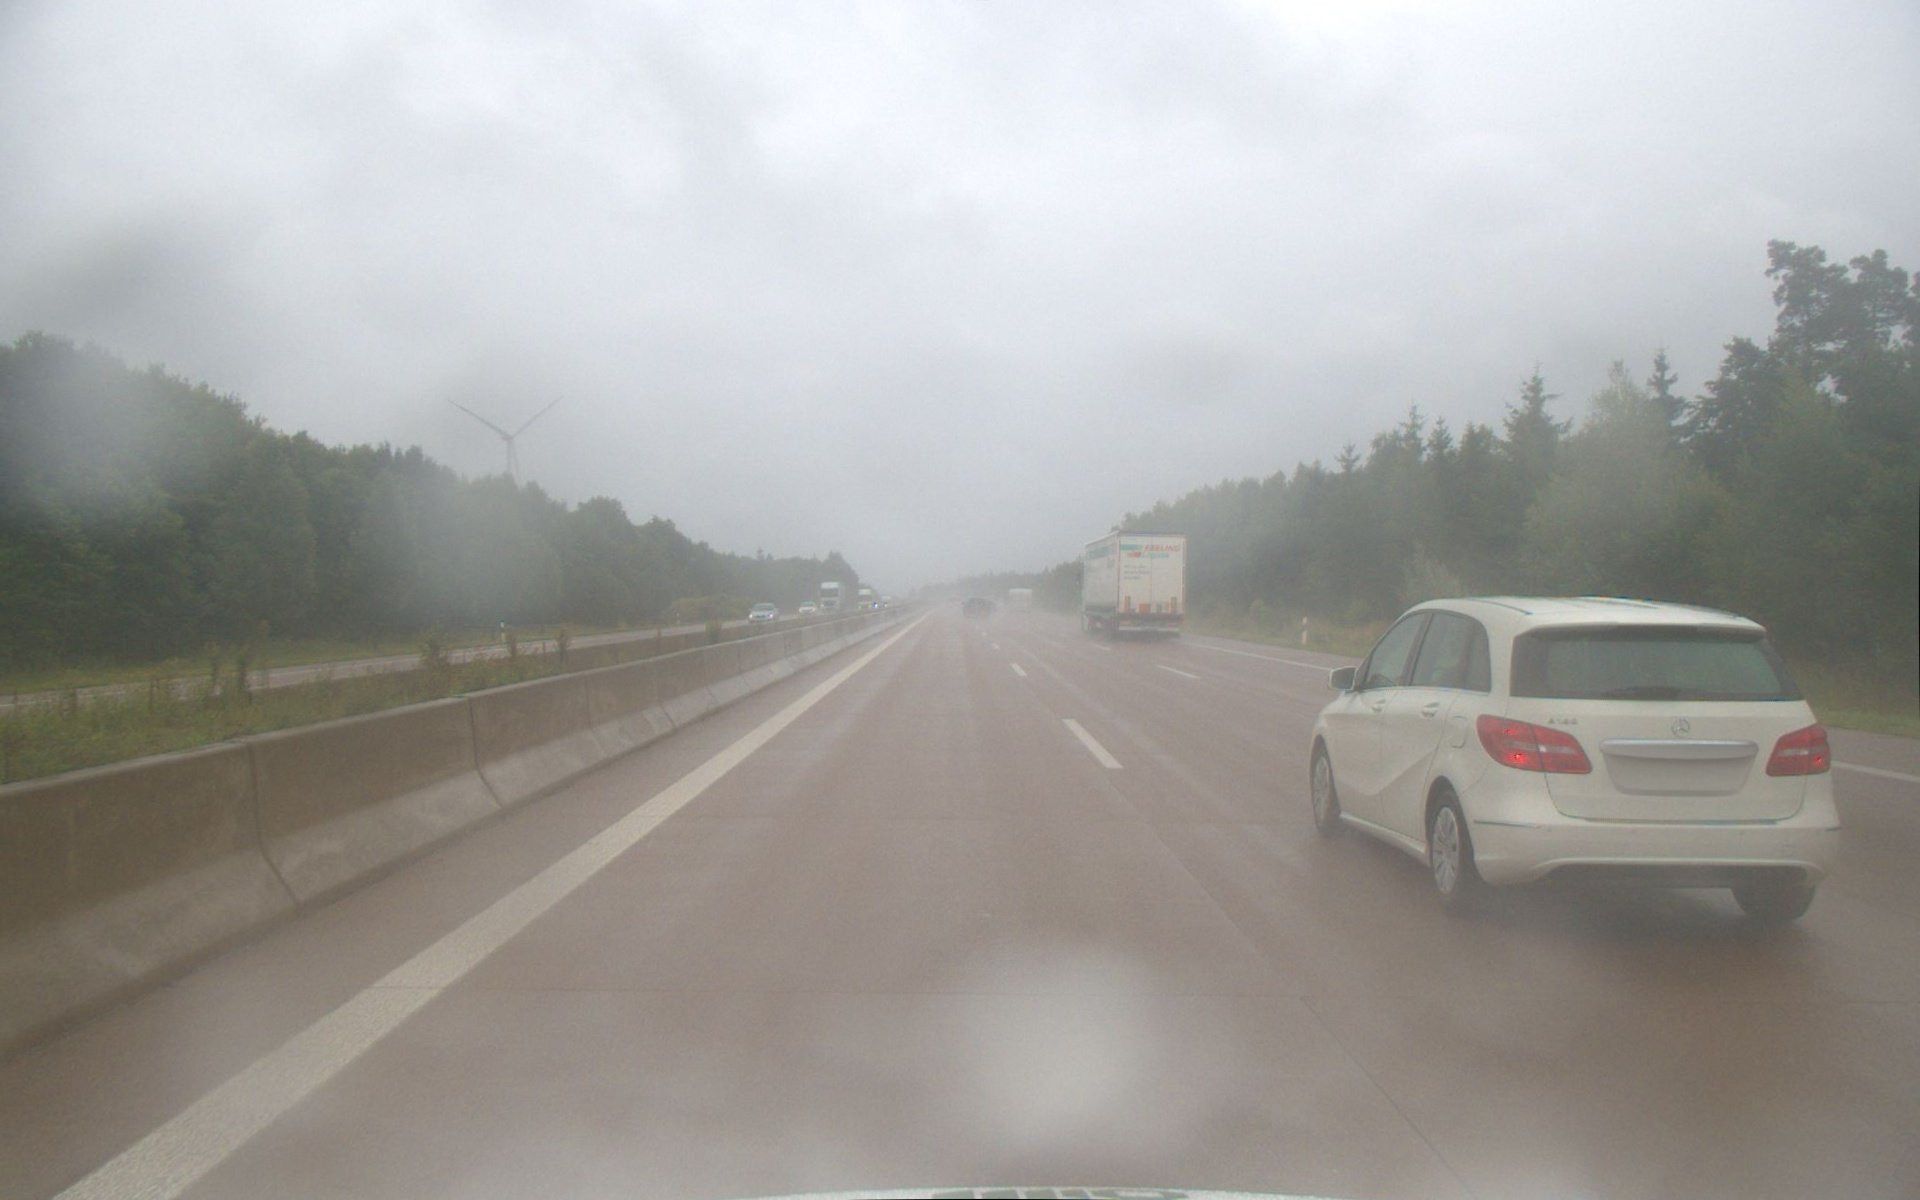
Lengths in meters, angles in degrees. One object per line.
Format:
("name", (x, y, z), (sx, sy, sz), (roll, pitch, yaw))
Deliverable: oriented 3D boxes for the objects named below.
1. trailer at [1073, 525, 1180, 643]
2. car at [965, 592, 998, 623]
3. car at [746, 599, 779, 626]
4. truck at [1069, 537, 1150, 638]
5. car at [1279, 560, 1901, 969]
("trailer", (6.569, -0.653, 67.312), (2.794, 4.305, 13.129), (-1, 1, -1))
("car", (1.435, 0.528, 113.646), (2.129, 2.016, 4.130), (2, 0, 0))
("car", (-13.176, 0.832, 110.770), (1.772, 1.660, 4.503), (3, 0, -2))
("truck", (6.464, -0.545, 72.429), (2.822, 4.178, 6.348), (1, 0, -1))
("car", (3.225, 0.722, 9.626), (1.771, 1.758, 4.743), (1, 0, 0))
